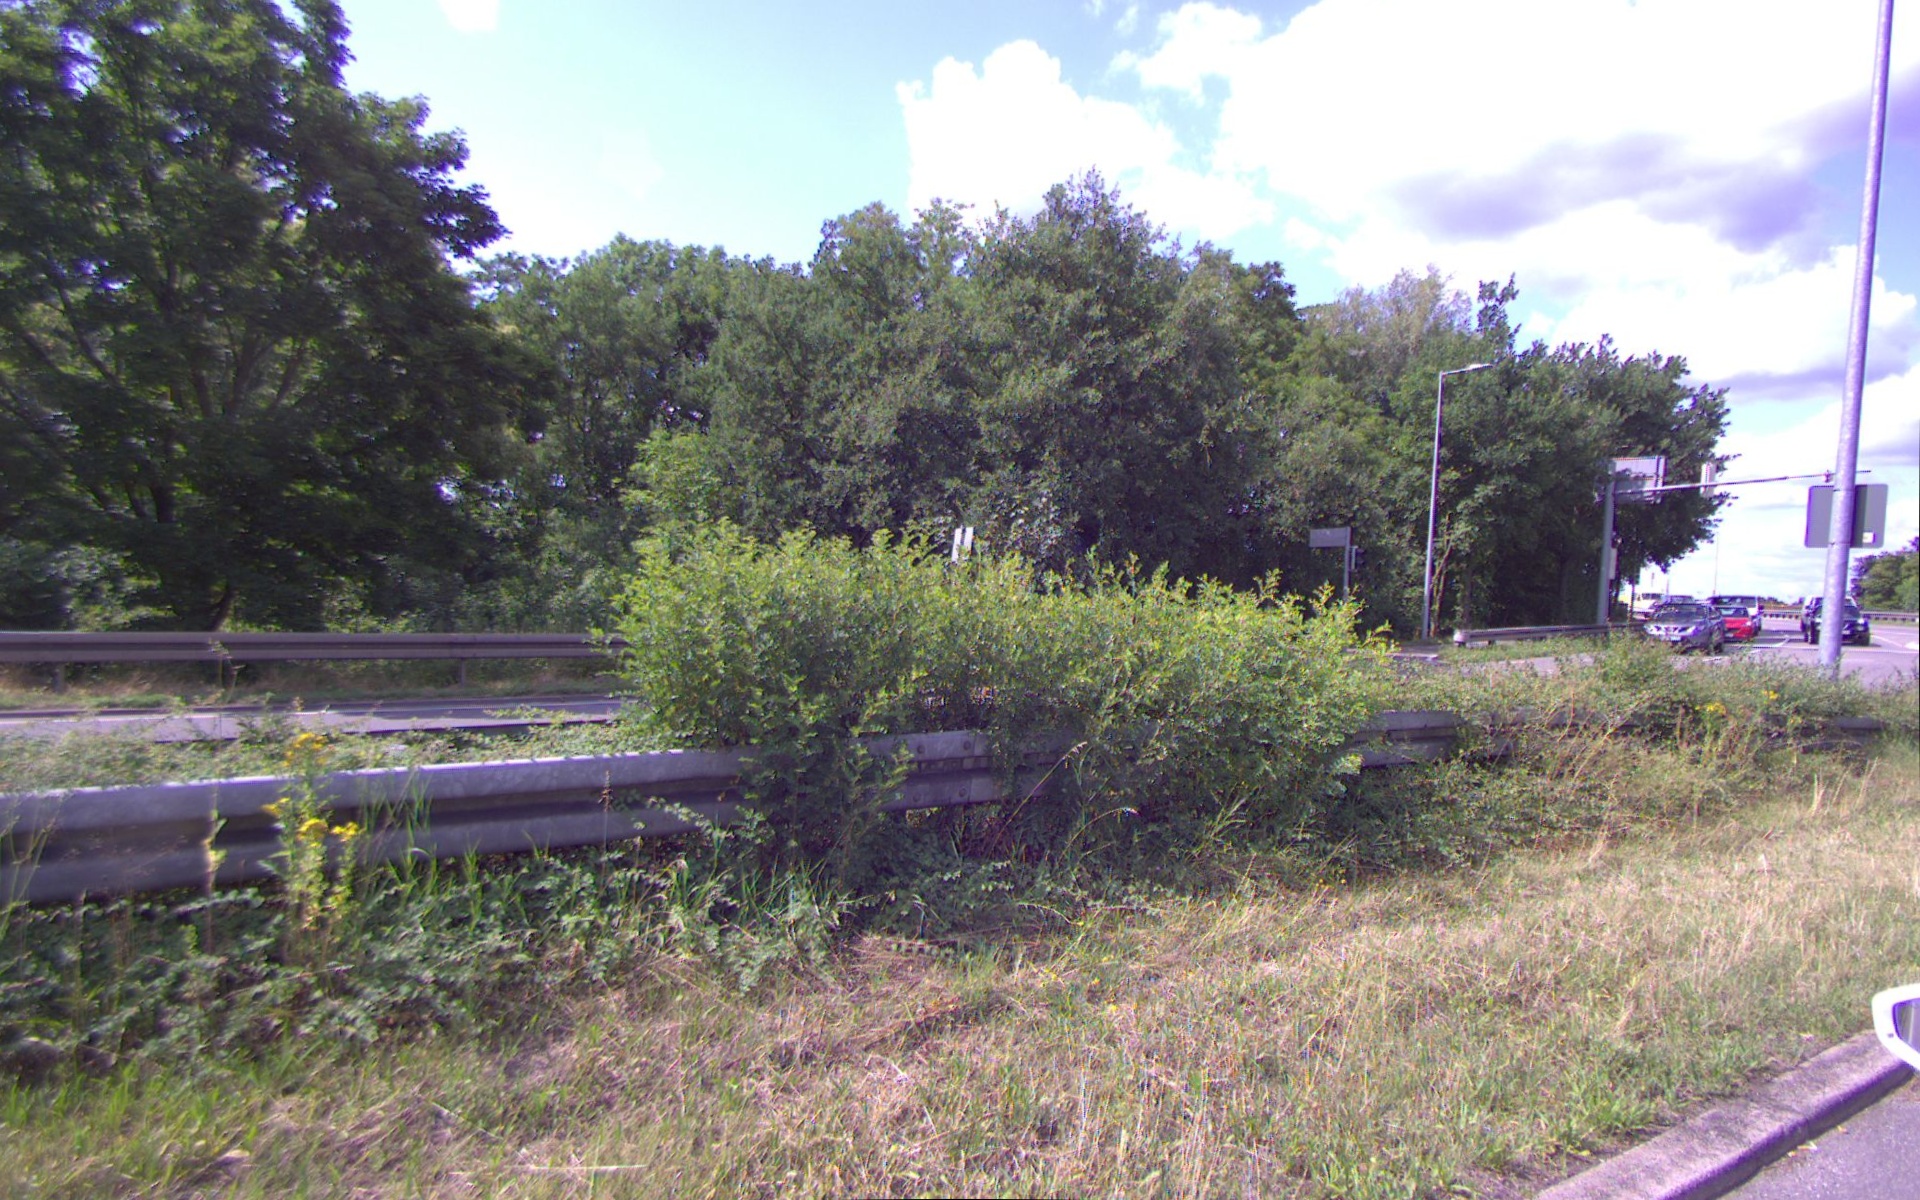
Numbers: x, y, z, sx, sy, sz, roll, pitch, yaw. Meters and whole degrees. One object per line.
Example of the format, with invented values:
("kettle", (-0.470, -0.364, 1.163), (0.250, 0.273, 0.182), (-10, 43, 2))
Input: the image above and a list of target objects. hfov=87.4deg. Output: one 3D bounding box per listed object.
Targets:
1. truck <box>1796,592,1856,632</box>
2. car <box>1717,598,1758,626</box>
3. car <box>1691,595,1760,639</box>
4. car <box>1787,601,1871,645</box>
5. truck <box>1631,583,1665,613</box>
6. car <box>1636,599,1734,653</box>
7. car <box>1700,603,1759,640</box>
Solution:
("truck", (45.278, 0.583, 52.624), (1.935, 1.939, 5.350), (2, 1, 36))
("car", (44.181, 0.663, 57.156), (1.710, 1.541, 4.053), (0, 0, 36))
("car", (37.403, 0.827, 49.201), (1.964, 2.040, 5.127), (0, -1, 29))
("car", (34.123, 0.868, 39.558), (1.672, 1.578, 3.816), (1, 1, 28))
("truck", (64.667, -0.214, 94.380), (1.970, 2.656, 6.073), (0, 0, 41))
("car", (23.173, 0.809, 32.039), (4.250, 1.607, 1.695), (1, -1, -42))
("car", (31.453, 0.863, 41.019), (1.564, 1.451, 3.977), (1, 0, 43))
